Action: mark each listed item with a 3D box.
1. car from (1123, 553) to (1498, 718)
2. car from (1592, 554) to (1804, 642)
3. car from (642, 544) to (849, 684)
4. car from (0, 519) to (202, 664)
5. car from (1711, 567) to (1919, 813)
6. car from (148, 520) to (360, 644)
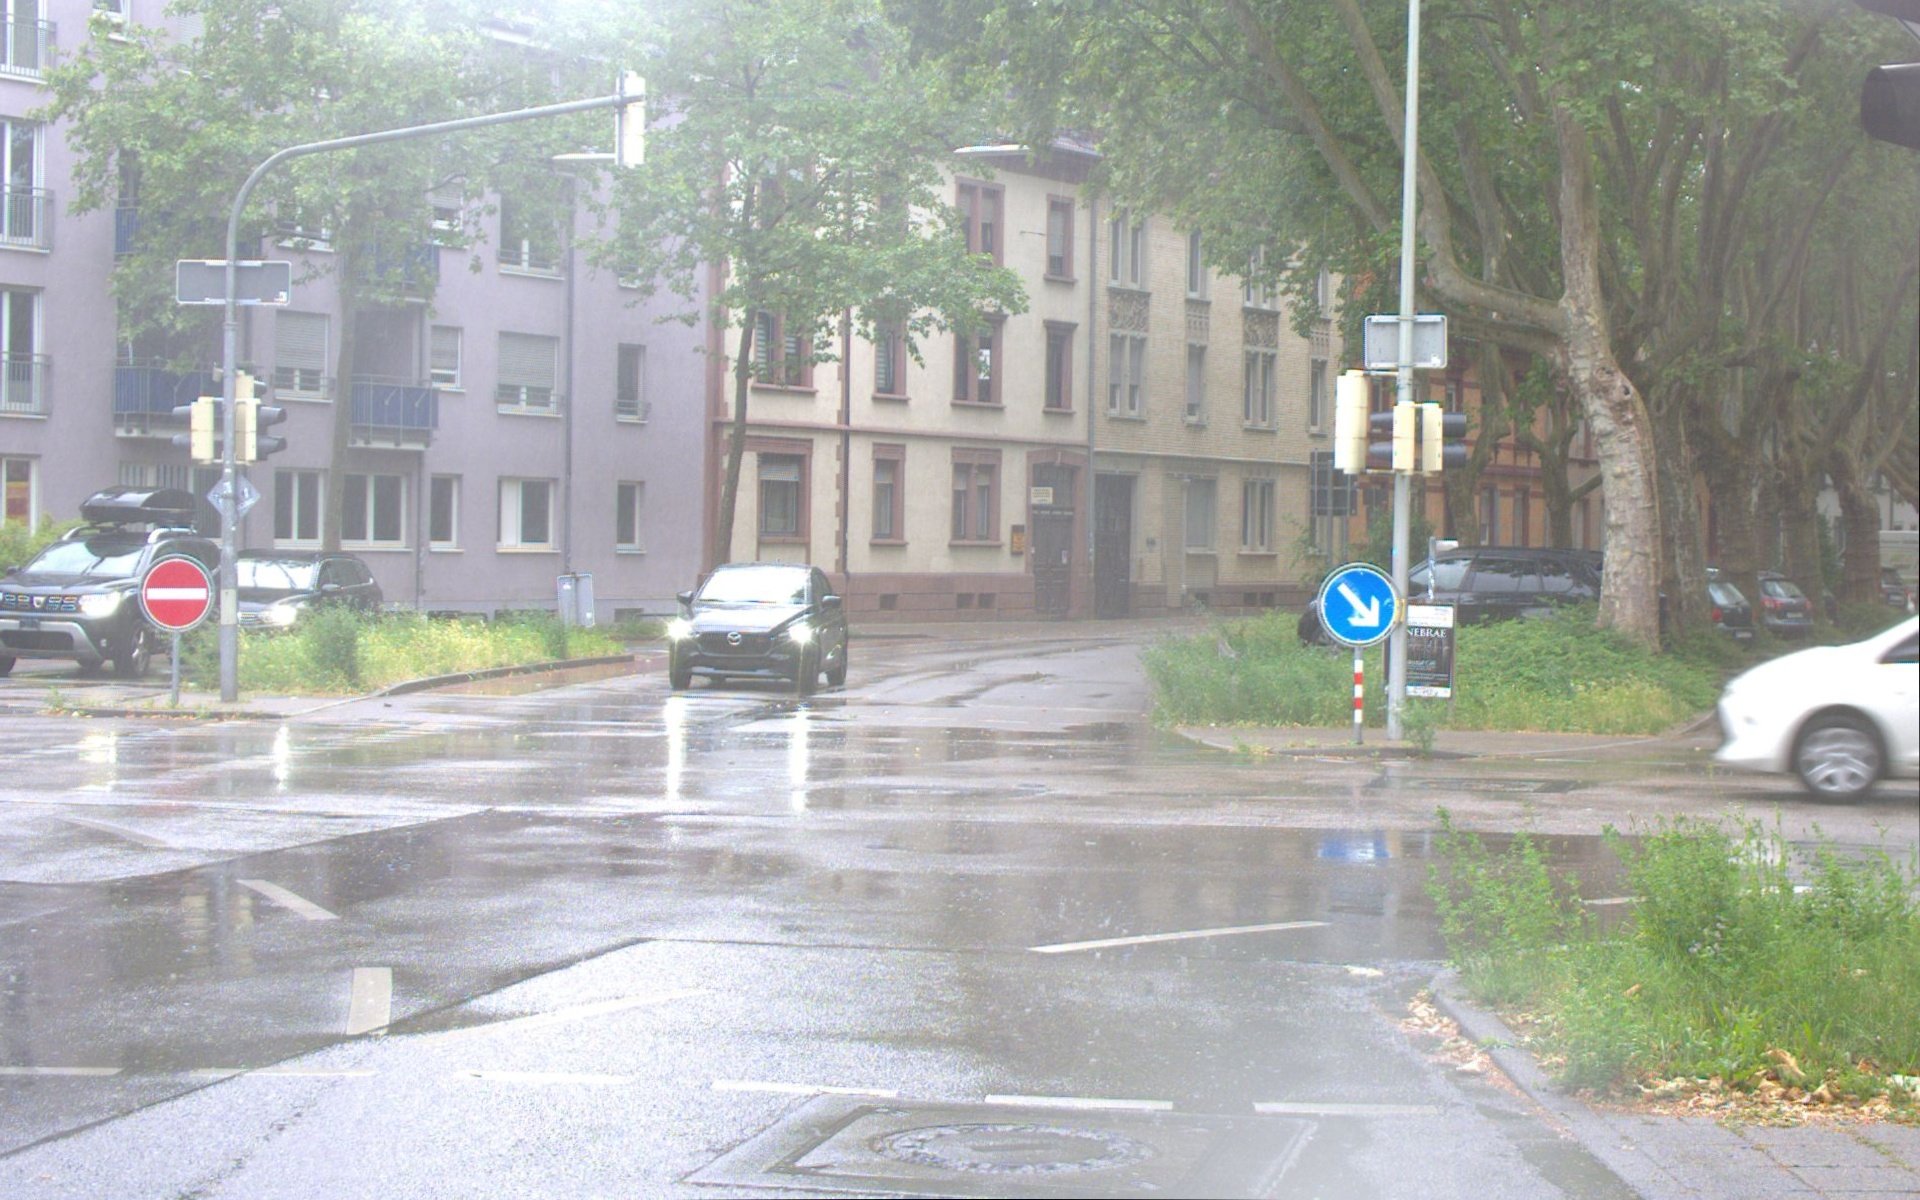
[{"bbox_3d":[3.380,0.328,32.946,3.480,1.518,1.519,0,1,9],"label":"car"},{"bbox_3d":[14.013,-0.038,65.282,3.611,1.612,1.679,0,1,28],"label":"car"},{"bbox_3d":[-2.478,0.137,40.536,1.603,1.547,3.558,0,1,10],"label":"car"},{"bbox_3d":[-9.957,-0.128,38.786,1.725,1.547,3.559,-1,1,5],"label":"car"},{"bbox_3d":[6.649,0.537,21.705,3.643,1.481,1.724,0,1,15],"label":"car"},{"bbox_3d":[-9.172,-0.261,44.935,1.725,1.547,3.559,-1,1,5],"label":"car"}]
